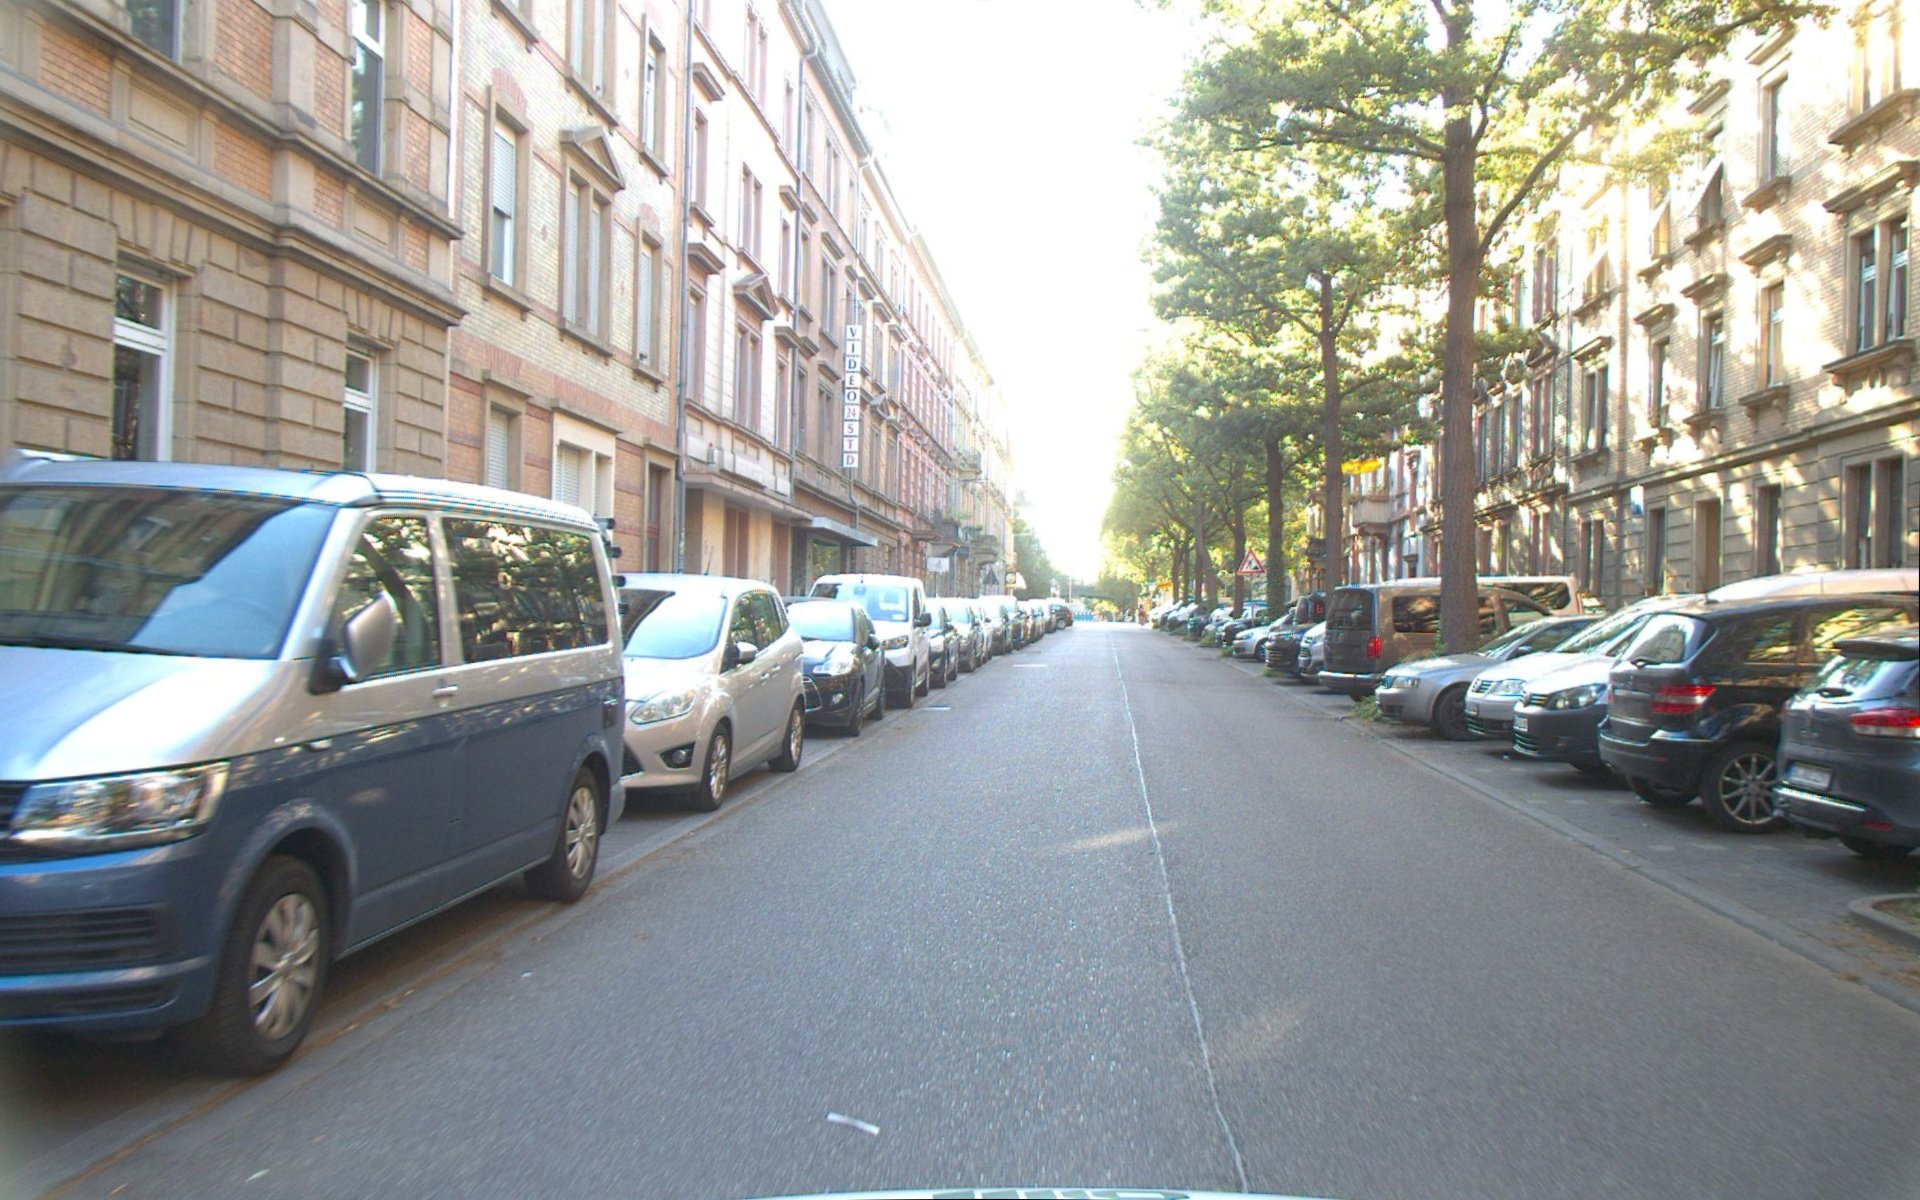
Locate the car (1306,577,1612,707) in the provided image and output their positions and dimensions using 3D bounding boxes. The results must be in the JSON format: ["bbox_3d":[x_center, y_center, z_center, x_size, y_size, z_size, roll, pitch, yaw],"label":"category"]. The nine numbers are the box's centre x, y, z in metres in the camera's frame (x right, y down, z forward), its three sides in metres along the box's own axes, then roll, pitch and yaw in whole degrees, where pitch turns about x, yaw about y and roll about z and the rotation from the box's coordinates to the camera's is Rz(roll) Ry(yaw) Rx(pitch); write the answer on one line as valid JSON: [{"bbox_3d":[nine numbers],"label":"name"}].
[{"bbox_3d":[7.633,0.610,25.408,4.150,1.826,1.828,-1,0,-15],"label":"car"}]

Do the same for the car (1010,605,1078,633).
[{"bbox_3d":[4.807,1.097,94.343,1.961,1.512,3.983,-1,-3,37],"label":"car"}]

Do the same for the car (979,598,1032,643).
[{"bbox_3d":[1.627,0.705,57.864,1.721,1.498,4.061,1,0,4],"label":"car"}]

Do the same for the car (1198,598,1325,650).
[{"bbox_3d":[9.857,0.783,54.226,3.773,1.601,1.717,-1,0,-3],"label":"car"}]

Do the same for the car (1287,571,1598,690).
[{"bbox_3d":[8.353,0.526,29.021,4.950,1.959,1.836,-1,0,5],"label":"car"}]

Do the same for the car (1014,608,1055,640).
[{"bbox_3d":[3.826,1.244,83.940,1.951,1.512,4.001,1,-2,4],"label":"car"}]

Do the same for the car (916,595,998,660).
[{"bbox_3d":[-0.022,0.635,40.142,1.721,1.498,4.061,1,0,4],"label":"car"}]

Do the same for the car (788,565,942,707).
[{"bbox_3d":[-1.294,0.481,24.441,1.721,1.874,4.532,1,0,4],"label":"car"}]

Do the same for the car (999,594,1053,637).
[{"bbox_3d":[2.582,0.631,63.835,1.951,1.512,4.001,1,-2,4],"label":"car"}]

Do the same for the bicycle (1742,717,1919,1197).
[{"bbox_3d":[3.012,0.997,4.152,0.975,1.178,2.925,1,0,6],"label":"bicycle"}]

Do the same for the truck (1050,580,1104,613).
[{"bbox_3d":[15.754,-0.461,222.853,7.151,4.019,2.411,3,0,-32],"label":"truck"}]

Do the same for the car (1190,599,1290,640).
[{"bbox_3d":[11.570,0.796,68.527,3.773,1.601,1.717,-1,0,-3],"label":"car"}]

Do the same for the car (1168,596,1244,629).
[{"bbox_3d":[12.820,0.651,86.241,3.769,1.601,1.719,-1,0,4],"label":"car"}]

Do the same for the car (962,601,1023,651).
[{"bbox_3d":[1.051,0.777,51.393,1.721,1.498,4.061,1,0,4],"label":"car"}]

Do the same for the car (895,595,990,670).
[{"bbox_3d":[-0.320,0.660,35.677,1.721,1.498,4.061,1,0,4],"label":"car"}]

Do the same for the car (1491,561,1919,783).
[{"bbox_3d":[7.064,0.598,14.692,4.132,1.808,1.836,-1,0,4],"label":"car"}]

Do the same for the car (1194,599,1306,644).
[{"bbox_3d":[10.759,0.783,61.516,3.773,1.601,1.717,-1,0,-3],"label":"car"}]

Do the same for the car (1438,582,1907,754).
[{"bbox_3d":[7.371,0.673,17.381,4.136,1.639,1.834,-1,0,-3],"label":"car"}]

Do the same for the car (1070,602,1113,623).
[{"bbox_3d":[12.936,1.210,162.707,3.902,1.891,1.752,2,0,13],"label":"car"}]

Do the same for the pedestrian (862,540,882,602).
[{"bbox_3d":[-2.696,-0.882,50.843,0.488,1.894,0.463,2,0,4],"label":"pedestrian"}]

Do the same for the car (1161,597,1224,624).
[{"bbox_3d":[14.521,0.675,103.480,3.769,1.601,1.719,-1,0,4],"label":"car"}]

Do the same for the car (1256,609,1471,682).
[{"bbox_3d":[7.754,0.861,32.020,3.770,1.316,1.718,-1,0,2],"label":"car"}]

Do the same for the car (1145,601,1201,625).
[{"bbox_3d":[14.992,0.926,116.491,3.769,1.601,1.719,-1,0,4],"label":"car"}]

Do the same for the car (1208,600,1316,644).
[{"bbox_3d":[11.630,0.838,63.856,3.773,1.601,1.717,-1,0,-3],"label":"car"}]

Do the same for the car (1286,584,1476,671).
[{"bbox_3d":[9.298,0.601,36.723,3.770,1.828,1.718,-1,0,2],"label":"car"}]

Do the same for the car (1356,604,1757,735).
[{"bbox_3d":[7.030,0.794,19.796,4.134,1.428,1.835,-1,0,0],"label":"car"}]

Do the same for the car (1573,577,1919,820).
[{"bbox_3d":[6.750,0.672,12.058,3.925,1.635,1.735,-1,-1,5],"label":"car"}]

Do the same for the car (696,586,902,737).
[{"bbox_3d":[-1.769,0.649,19.400,1.722,1.492,4.002,3,0,4],"label":"car"}]

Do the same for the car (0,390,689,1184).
[{"bbox_3d":[-2.705,0.442,6.849,1.793,1.977,5.263,3,0,5],"label":"car"}]

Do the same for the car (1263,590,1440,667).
[{"bbox_3d":[9.180,0.661,39.006,3.770,1.729,1.718,-1,0,2],"label":"car"}]

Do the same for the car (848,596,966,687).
[{"bbox_3d":[-0.874,0.694,29.533,1.721,1.498,4.061,1,0,4],"label":"car"}]

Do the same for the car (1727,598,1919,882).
[{"bbox_3d":[6.759,0.724,9.461,3.925,1.493,1.735,-1,-1,5],"label":"car"}]

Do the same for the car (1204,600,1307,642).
[{"bbox_3d":[11.866,0.833,66.458,3.773,1.601,1.717,-1,0,-3],"label":"car"}]

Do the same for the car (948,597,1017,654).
[{"bbox_3d":[0.678,0.688,46.640,1.721,1.498,4.061,1,0,4],"label":"car"}]

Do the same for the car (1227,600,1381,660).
[{"bbox_3d":[9.174,0.795,44.284,3.770,1.505,1.718,-1,0,2],"label":"car"}]

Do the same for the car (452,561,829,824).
[{"bbox_3d":[-2.280,0.607,13.045,1.717,1.636,4.386,3,0,5],"label":"car"}]

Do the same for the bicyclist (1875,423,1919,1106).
[{"bbox_3d":[3.012,0.443,3.999,0.975,1.821,1.208,1,0,6],"label":"bicyclist"}]

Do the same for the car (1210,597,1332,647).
[{"bbox_3d":[10.605,0.741,56.580,3.773,1.601,1.717,-1,0,-3],"label":"car"}]
